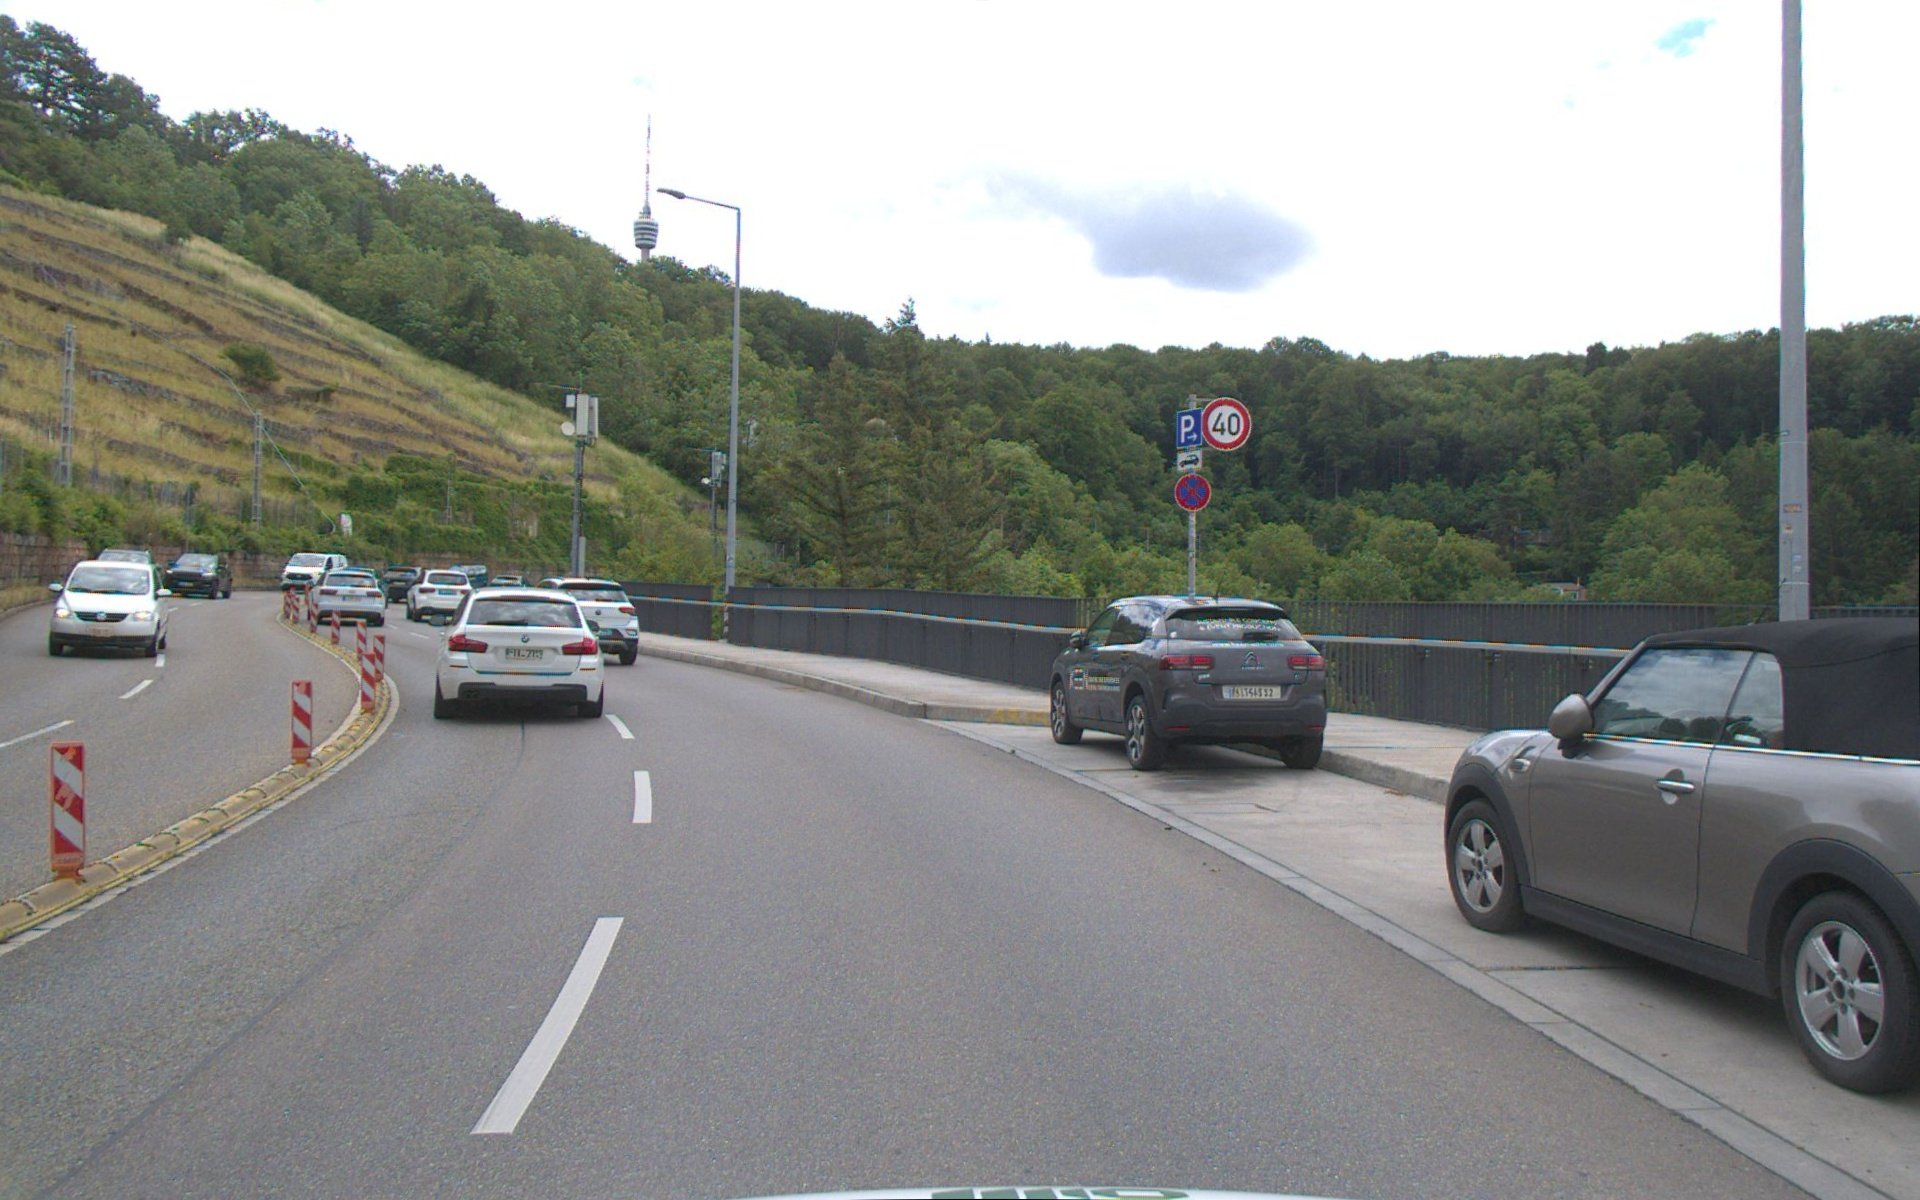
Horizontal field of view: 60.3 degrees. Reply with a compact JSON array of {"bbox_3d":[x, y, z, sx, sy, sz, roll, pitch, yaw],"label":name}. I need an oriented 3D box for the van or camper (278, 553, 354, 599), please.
[{"bbox_3d":[-31.470,-1.208,80.960,2.106,2.051,4.960,0,3,-5],"label":"van or camper"}]

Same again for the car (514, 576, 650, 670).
[{"bbox_3d":[-7.294,0.387,31.634,1.804,1.633,3.970,-1,1,-24],"label":"car"}]

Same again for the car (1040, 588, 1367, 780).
[{"bbox_3d":[2.137,0.711,15.760,1.841,1.570,4.079,1,0,-11],"label":"car"}]

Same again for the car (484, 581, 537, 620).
[{"bbox_3d":[-23.347,0.067,86.063,1.833,1.793,3.996,1,-3,-4],"label":"car"}]

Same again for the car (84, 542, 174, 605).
[{"bbox_3d":[-25.204,-0.770,50.271,1.815,1.756,4.438,2,-1,-19],"label":"car"}]

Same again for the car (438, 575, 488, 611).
[{"bbox_3d":[-28.559,-0.389,95.087,1.833,1.793,3.996,1,-3,-4],"label":"car"}]

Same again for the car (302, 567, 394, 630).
[{"bbox_3d":[-17.015,-0.023,45.873,1.969,1.529,4.629,-1,-2,-25],"label":"car"}]

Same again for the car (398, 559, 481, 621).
[{"bbox_3d":[-16.449,-0.289,52.162,1.968,1.748,4.080,-2,-2,-25],"label":"car"}]

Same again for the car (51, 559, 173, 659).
[{"bbox_3d":[-14.643,0.127,28.710,1.680,1.576,3.968,2,0,-25],"label":"car"}]

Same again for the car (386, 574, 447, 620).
[{"bbox_3d":[-24.403,-0.117,74.432,1.834,1.793,3.992,1,-3,-7],"label":"car"}]

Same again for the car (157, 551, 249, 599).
[{"bbox_3d":[-28.643,-0.922,62.704,1.829,1.652,4.342,2,0,-6],"label":"car"}]

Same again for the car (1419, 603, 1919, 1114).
[{"bbox_3d":[3.369,0.746,6.384,1.682,1.456,3.843,0,0,-8],"label":"car"}]

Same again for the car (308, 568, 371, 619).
[{"bbox_3d":[-23.344,-0.210,62.329,1.963,1.677,3.979,-2,-2,-18],"label":"car"}]

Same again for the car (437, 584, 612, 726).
[{"bbox_3d":[-5.177,0.566,19.870,1.797,1.485,4.470,0,1,-14],"label":"car"}]
